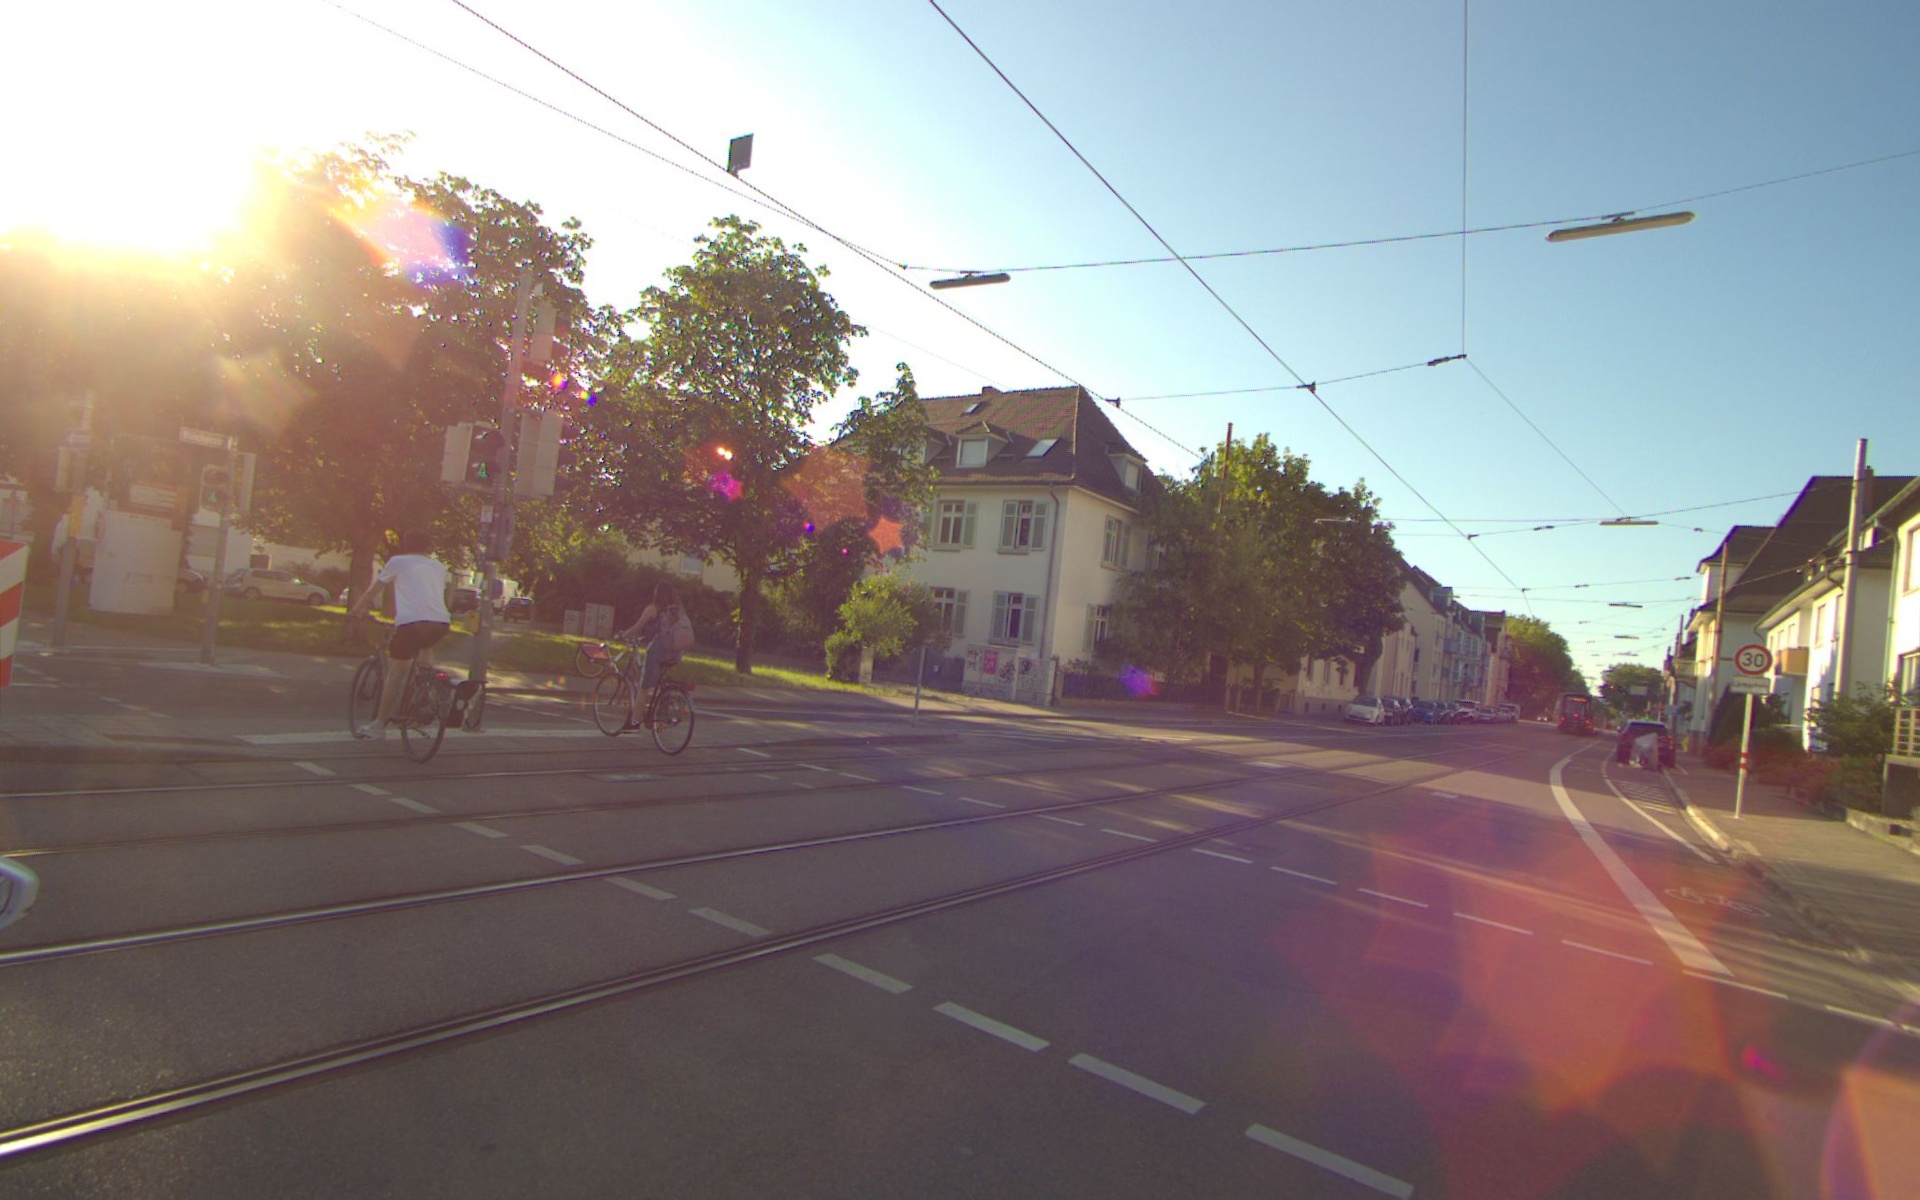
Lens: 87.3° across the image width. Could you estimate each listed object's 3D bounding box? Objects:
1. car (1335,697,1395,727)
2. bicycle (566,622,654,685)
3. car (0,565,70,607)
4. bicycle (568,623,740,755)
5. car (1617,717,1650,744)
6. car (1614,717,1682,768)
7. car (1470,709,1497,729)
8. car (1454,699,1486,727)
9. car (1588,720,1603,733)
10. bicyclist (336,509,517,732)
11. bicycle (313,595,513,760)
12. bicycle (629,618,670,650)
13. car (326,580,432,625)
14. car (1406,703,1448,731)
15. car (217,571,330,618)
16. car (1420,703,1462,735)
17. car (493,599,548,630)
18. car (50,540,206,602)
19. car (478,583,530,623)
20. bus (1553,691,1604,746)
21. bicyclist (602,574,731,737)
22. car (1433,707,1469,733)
[{"bbox_3d":[21.493,5.949,53.286,1.970,1.325,3.991,5,-3,35],"label":"car"},{"bbox_3d":[-6.987,1.086,20.132,0.461,1.102,1.519,5,-3,45],"label":"bicycle"},{"bbox_3d":[-39.324,-0.709,41.178,1.691,1.462,3.990,3,-5,37],"label":"car"},{"bbox_3d":[-3.281,0.925,10.695,1.933,1.196,0.492,3,-5,33],"label":"bicycle"},{"bbox_3d":[53.529,10.351,79.924,1.969,1.792,3.991,5,-3,35],"label":"car"},{"bbox_3d":[26.223,5.406,38.340,1.970,1.613,3.991,4,-4,35],"label":"car"},{"bbox_3d":[49.231,11.198,94.536,1.812,1.550,3.874,4,-6,33],"label":"car"},{"bbox_3d":[43.282,9.604,85.327,1.968,2.034,3.998,4,-6,32],"label":"car"},{"bbox_3d":[97.641,19.455,154.578,1.592,1.641,3.714,4,-1,30],"label":"car"},{"bbox_3d":[-4.515,0.178,8.541,0.879,1.750,0.817,4,-5,32],"label":"bicyclist"},{"bbox_3d":[-4.707,0.635,8.608,1.876,1.196,0.573,4,-5,35],"label":"bicycle"},{"bbox_3d":[-13.466,1.472,43.604,1.924,1.250,0.450,1,-6,34],"label":"bicycle"},{"bbox_3d":[-27.111,0.140,47.067,1.499,1.539,3.931,3,-5,32],"label":"car"},{"bbox_3d":[32.354,8.100,69.631,1.897,1.613,3.892,4,-4,35],"label":"car"},{"bbox_3d":[-29.370,-0.213,43.106,1.579,1.532,3.561,4,-4,32],"label":"car"},{"bbox_3d":[34.964,8.659,73.075,1.969,2.036,3.991,5,-3,35],"label":"car"},{"bbox_3d":[-25.557,0.863,58.638,1.967,1.569,3.994,7,-2,-12],"label":"car"},{"bbox_3d":[-32.580,-1.107,39.493,2.001,1.896,4.243,3,-4,37],"label":"car"},{"bbox_3d":[-33.680,0.284,74.497,2.077,2.361,4.521,7,-5,-8],"label":"car"},{"bbox_3d":[54.418,10.524,88.339,2.822,3.865,13.307,4,-6,35],"label":"bus"},{"bbox_3d":[-3.075,0.579,10.568,0.879,1.578,0.714,4,-5,32],"label":"bicyclist"},{"bbox_3d":[37.886,9.275,77.542,1.968,1.631,3.998,4,-6,32],"label":"car"}]
